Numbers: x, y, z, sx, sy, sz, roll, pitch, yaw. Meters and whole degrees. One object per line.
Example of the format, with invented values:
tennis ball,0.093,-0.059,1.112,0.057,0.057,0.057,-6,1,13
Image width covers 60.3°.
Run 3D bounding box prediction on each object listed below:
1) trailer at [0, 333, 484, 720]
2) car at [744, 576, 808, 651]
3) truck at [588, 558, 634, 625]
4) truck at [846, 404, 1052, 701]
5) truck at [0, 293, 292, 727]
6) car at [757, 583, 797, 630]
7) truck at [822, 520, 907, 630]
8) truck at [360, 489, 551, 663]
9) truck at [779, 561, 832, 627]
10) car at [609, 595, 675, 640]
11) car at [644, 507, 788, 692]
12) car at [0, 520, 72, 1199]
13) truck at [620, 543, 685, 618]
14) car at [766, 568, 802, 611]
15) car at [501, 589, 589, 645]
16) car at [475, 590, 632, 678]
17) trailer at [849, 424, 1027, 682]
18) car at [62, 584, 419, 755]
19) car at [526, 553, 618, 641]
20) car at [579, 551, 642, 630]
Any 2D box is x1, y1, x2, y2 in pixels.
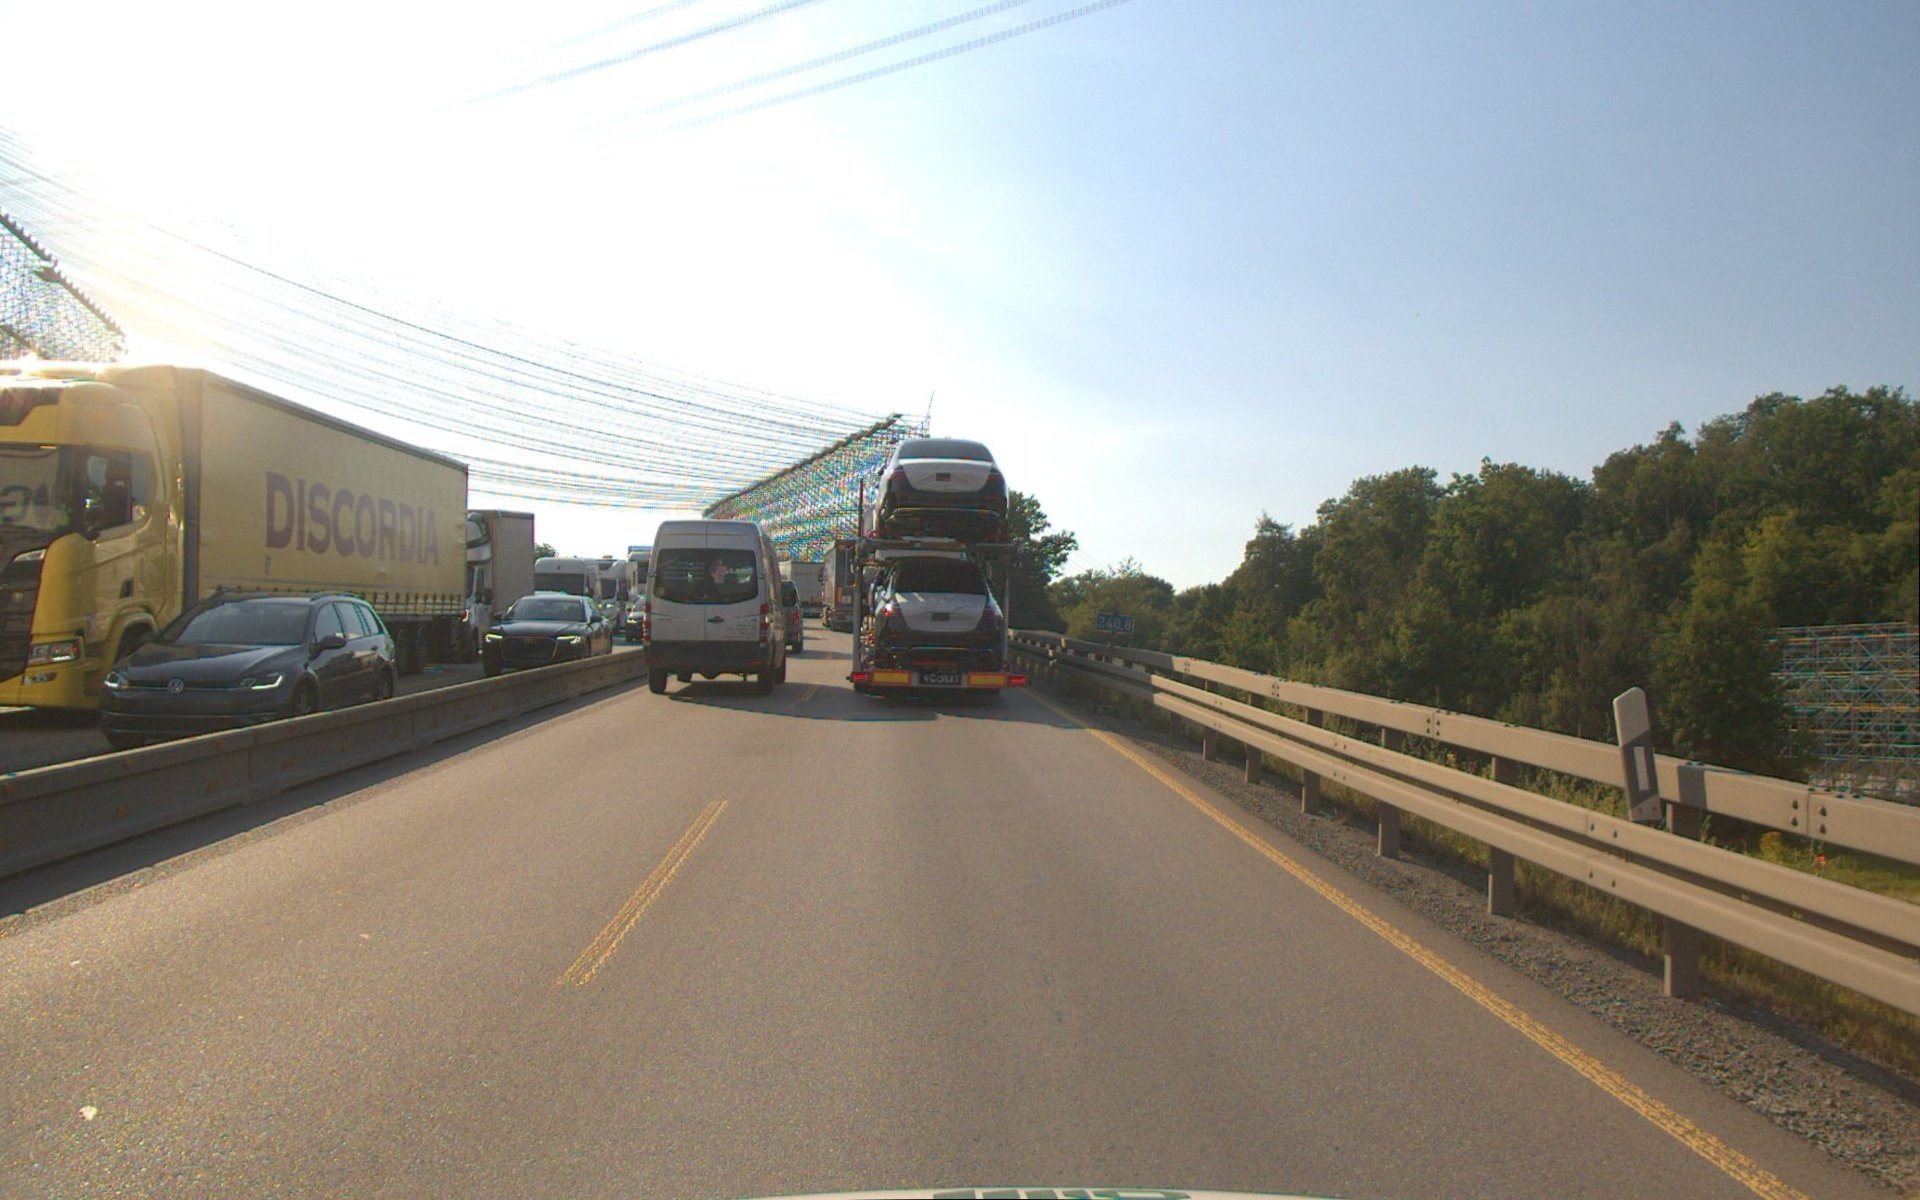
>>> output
trailer,-10.708,-0.684,26.323,2.836,4.471,14.369,0,-1,-3
car,-5.134,0.407,46.511,1.635,2.019,3.814,0,-1,-4
truck,-26.235,-0.604,124.087,3.172,4.759,11.658,0,0,-12
truck,-0.300,-0.584,25.515,2.813,4.050,5.767,0,-1,-3
truck,-10.319,-0.839,19.392,2.836,4.347,5.767,0,-1,-3
car,-8.143,0.321,73.776,1.635,2.019,3.814,0,-1,-4
truck,-4.615,-1.100,77.670,3.167,4.759,11.676,0,0,-7
truck,-11.396,-0.405,38.112,2.311,3.593,7.693,0,-1,-2
truck,-11.882,-0.469,126.182,3.579,4.759,11.676,0,0,-7
car,-10.201,0.597,53.259,1.635,1.392,3.814,0,-1,-4
car,-3.818,0.040,26.502,1.940,2.732,4.143,0,-1,-4
car,-2.524,0.618,1.162,1.666,1.615,4.144,0,-1,-2
truck,-17.306,-1.066,93.666,2.589,4.065,9.022,0,0,-4
car,-8.748,-0.494,82.289,1.635,2.019,3.814,0,-1,-4
car,-11.979,0.531,47.987,1.773,1.557,4.043,0,-1,-4
car,-7.645,0.654,31.586,1.953,1.557,4.724,0,-1,-2
trailer,-0.760,-0.561,33.775,2.817,4.064,15.267,0,-1,-3
car,-6.950,0.652,16.562,1.719,1.475,4.531,0,-1,-2
car,-12.826,-0.034,54.987,2.086,2.798,5.500,0,-1,-4
car,-13.076,-0.345,62.079,1.635,2.813,4.955,0,0,-4
